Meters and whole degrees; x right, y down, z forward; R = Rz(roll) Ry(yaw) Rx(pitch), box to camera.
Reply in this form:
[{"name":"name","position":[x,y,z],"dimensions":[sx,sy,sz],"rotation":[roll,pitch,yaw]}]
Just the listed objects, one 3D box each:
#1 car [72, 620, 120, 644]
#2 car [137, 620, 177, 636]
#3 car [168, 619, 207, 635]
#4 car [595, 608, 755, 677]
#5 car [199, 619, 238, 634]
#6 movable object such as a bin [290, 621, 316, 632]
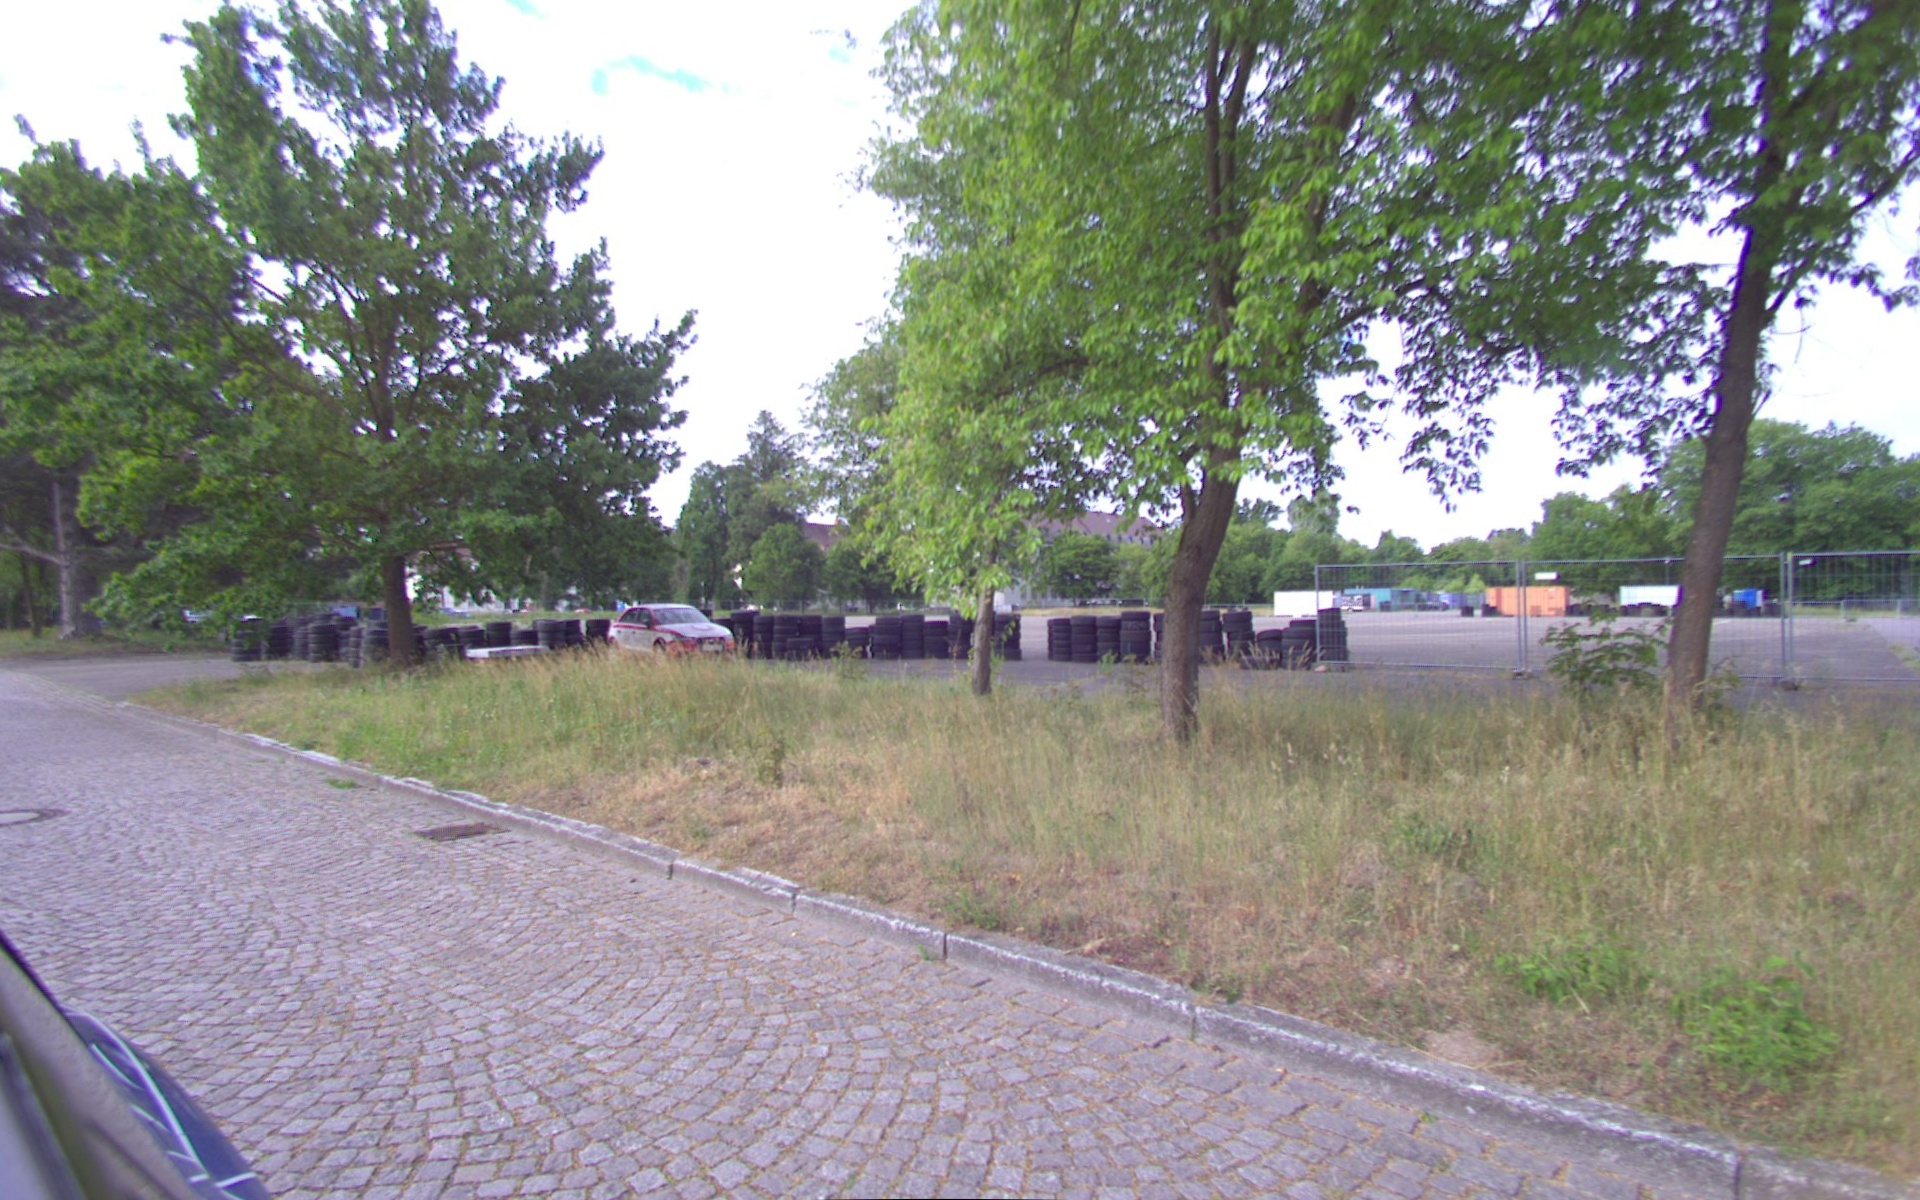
[{"name":"car","position":[-54.866,2.013,64.237],"dimensions":[3.719,1.421,1.649],"rotation":[-1,-1,39]},{"name":"car","position":[-76.639,2.645,96.546],"dimensions":[4.446,1.460,1.975],"rotation":[-1,-1,38]},{"name":"car","position":[-75.392,2.635,98.744],"dimensions":[4.446,1.460,1.975],"rotation":[-1,-1,38]},{"name":"car","position":[-6.645,0.934,23.349],"dimensions":[1.802,1.442,4.223],"rotation":[0,-1,-43]},{"name":"car","position":[-73.810,2.622,100.748],"dimensions":[4.446,1.460,1.975],"rotation":[-1,-1,38]},{"name":"movable object such as a bin","position":[-62.077,2.515,95.591],"dimensions":[2.712,1.079,1.046],"rotation":[-1,-1,33]}]
